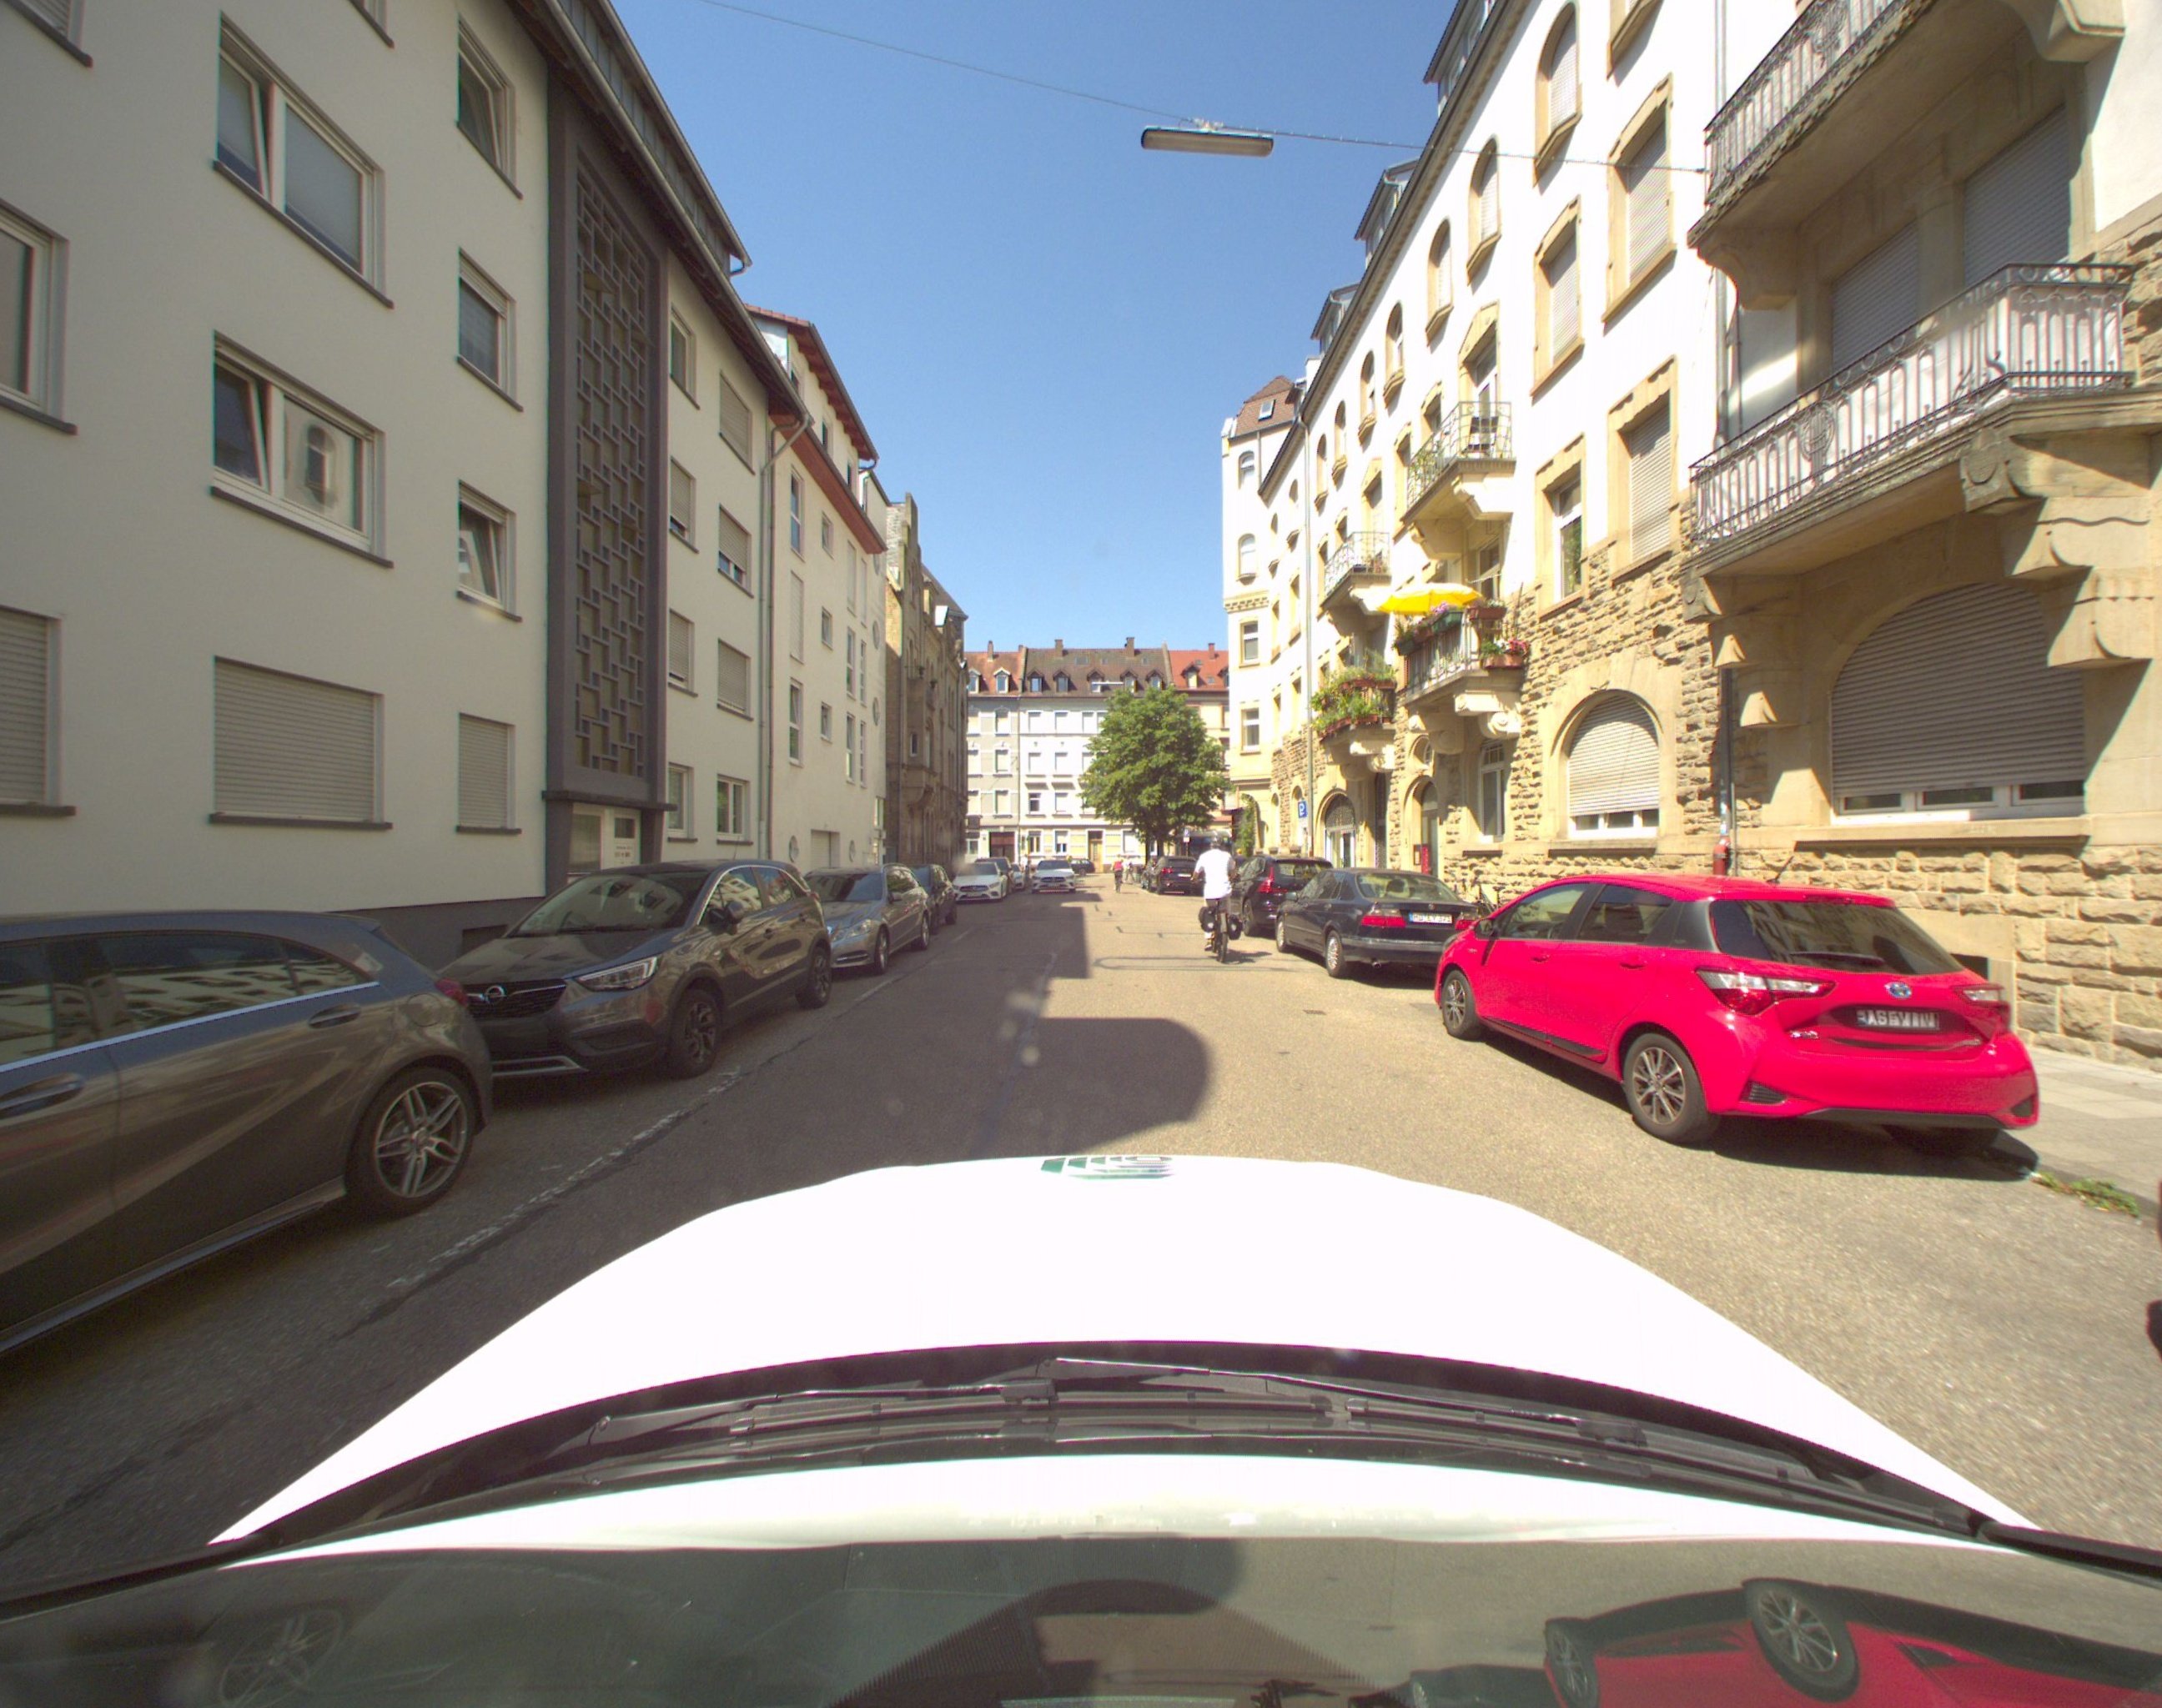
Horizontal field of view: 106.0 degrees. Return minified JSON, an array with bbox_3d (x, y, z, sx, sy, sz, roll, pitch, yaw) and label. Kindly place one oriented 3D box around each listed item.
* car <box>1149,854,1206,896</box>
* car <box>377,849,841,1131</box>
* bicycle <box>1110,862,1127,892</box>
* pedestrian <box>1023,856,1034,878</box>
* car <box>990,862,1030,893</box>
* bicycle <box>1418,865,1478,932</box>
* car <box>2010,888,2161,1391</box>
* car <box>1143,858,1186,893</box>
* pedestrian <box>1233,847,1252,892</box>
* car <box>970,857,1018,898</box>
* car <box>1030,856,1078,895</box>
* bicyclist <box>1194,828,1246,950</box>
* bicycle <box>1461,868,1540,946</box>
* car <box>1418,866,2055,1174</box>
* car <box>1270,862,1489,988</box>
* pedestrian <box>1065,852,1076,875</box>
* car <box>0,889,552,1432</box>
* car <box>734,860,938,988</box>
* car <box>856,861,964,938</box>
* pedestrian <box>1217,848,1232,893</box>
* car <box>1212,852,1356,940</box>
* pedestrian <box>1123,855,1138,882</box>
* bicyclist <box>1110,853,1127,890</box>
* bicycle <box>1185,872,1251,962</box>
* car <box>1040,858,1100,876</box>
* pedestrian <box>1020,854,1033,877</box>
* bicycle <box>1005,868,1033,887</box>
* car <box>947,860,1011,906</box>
[{"bbox_3d":[4.012,0.855,34.397,1.731,1.597,4.345,2,-1,-2],"label":"car"},{"bbox_3d":[-3.476,0.856,6.976,1.598,1.644,3.976,-3,-1,0],"label":"car"},{"bbox_3d":[1.564,0.948,34.256,0.649,1.209,2.442,1,-1,1],"label":"bicycle"},{"bbox_3d":[-4.373,1.129,68.236,0.899,1.814,0.958,-1,-1,-5],"label":"pedestrian"},{"bbox_3d":[-3.432,1.143,39.942,1.697,1.352,4.511,-3,-1,-2],"label":"car"},{"bbox_3d":[7.094,0.828,15.816,0.383,1.208,1.776,-1,-1,2],"label":"bicycle"},{"bbox_3d":[3.906,0.842,0.845,1.583,1.452,3.858,2,-1,2],"label":"car"},{"bbox_3d":[4.034,1.019,39.810,1.657,1.540,4.177,2,-1,0],"label":"car"},{"bbox_3d":[6.733,0.641,33.970,0.597,1.880,0.883,0,-1,0],"label":"pedestrian"},{"bbox_3d":[-3.664,0.988,34.821,1.668,1.583,4.050,-3,-1,-2],"label":"car"},{"bbox_3d":[-1.099,0.892,35.020,1.835,1.461,4.361,-3,-1,0],"label":"car"},{"bbox_3d":[2.077,0.517,12.223,0.668,1.760,0.609,1,-1,1],"label":"bicyclist"},{"bbox_3d":[7.037,0.856,13.731,0.439,1.208,1.776,-1,-1,2],"label":"bicycle"},{"bbox_3d":[4.012,0.840,5.911,1.565,1.452,3.842,2,-1,0],"label":"car"},{"bbox_3d":[3.976,0.862,11.558,1.508,1.399,3.970,3,-1,-2],"label":"car"},{"bbox_3d":[-0.842,0.813,66.377,0.724,1.853,0.682,-1,-1,-10],"label":"pedestrian"},{"bbox_3d":[-3.822,0.904,2.309,1.759,1.393,4.347,-3,-1,0],"label":"car"},{"bbox_3d":[-3.463,0.899,12.472,1.651,1.518,4.670,-3,-1,0],"label":"car"},{"bbox_3d":[-3.730,0.948,18.399,1.562,1.492,3.893,-3,-1,0],"label":"car"},{"bbox_3d":[6.014,0.679,34.137,0.517,1.869,0.653,0,-1,1],"label":"pedestrian"},{"bbox_3d":[4.094,0.800,17.230,1.828,1.567,4.603,2,-1,-1],"label":"car"},{"bbox_3d":[3.130,0.900,51.535,0.854,1.672,0.774,-1,-1,0],"label":"pedestrian"},{"bbox_3d":[1.564,0.739,34.227,0.668,1.533,0.609,-1,-1,1],"label":"bicyclist"},{"bbox_3d":[2.075,0.908,12.633,0.649,1.228,2.442,1,-1,1],"label":"bicycle"},{"bbox_3d":[-0.898,1.072,67.725,4.844,1.437,1.999,-1,-1,-1],"label":"car"},{"bbox_3d":[-4.457,0.923,66.855,0.844,1.889,0.938,-1,-1,10],"label":"pedestrian"},{"bbox_3d":[-3.538,1.340,46.509,1.522,1.008,0.366,2,-1,-5],"label":"bicycle"},{"bbox_3d":[-3.644,1.005,29.750,1.771,1.460,4.278,-3,-1,0],"label":"car"}]
